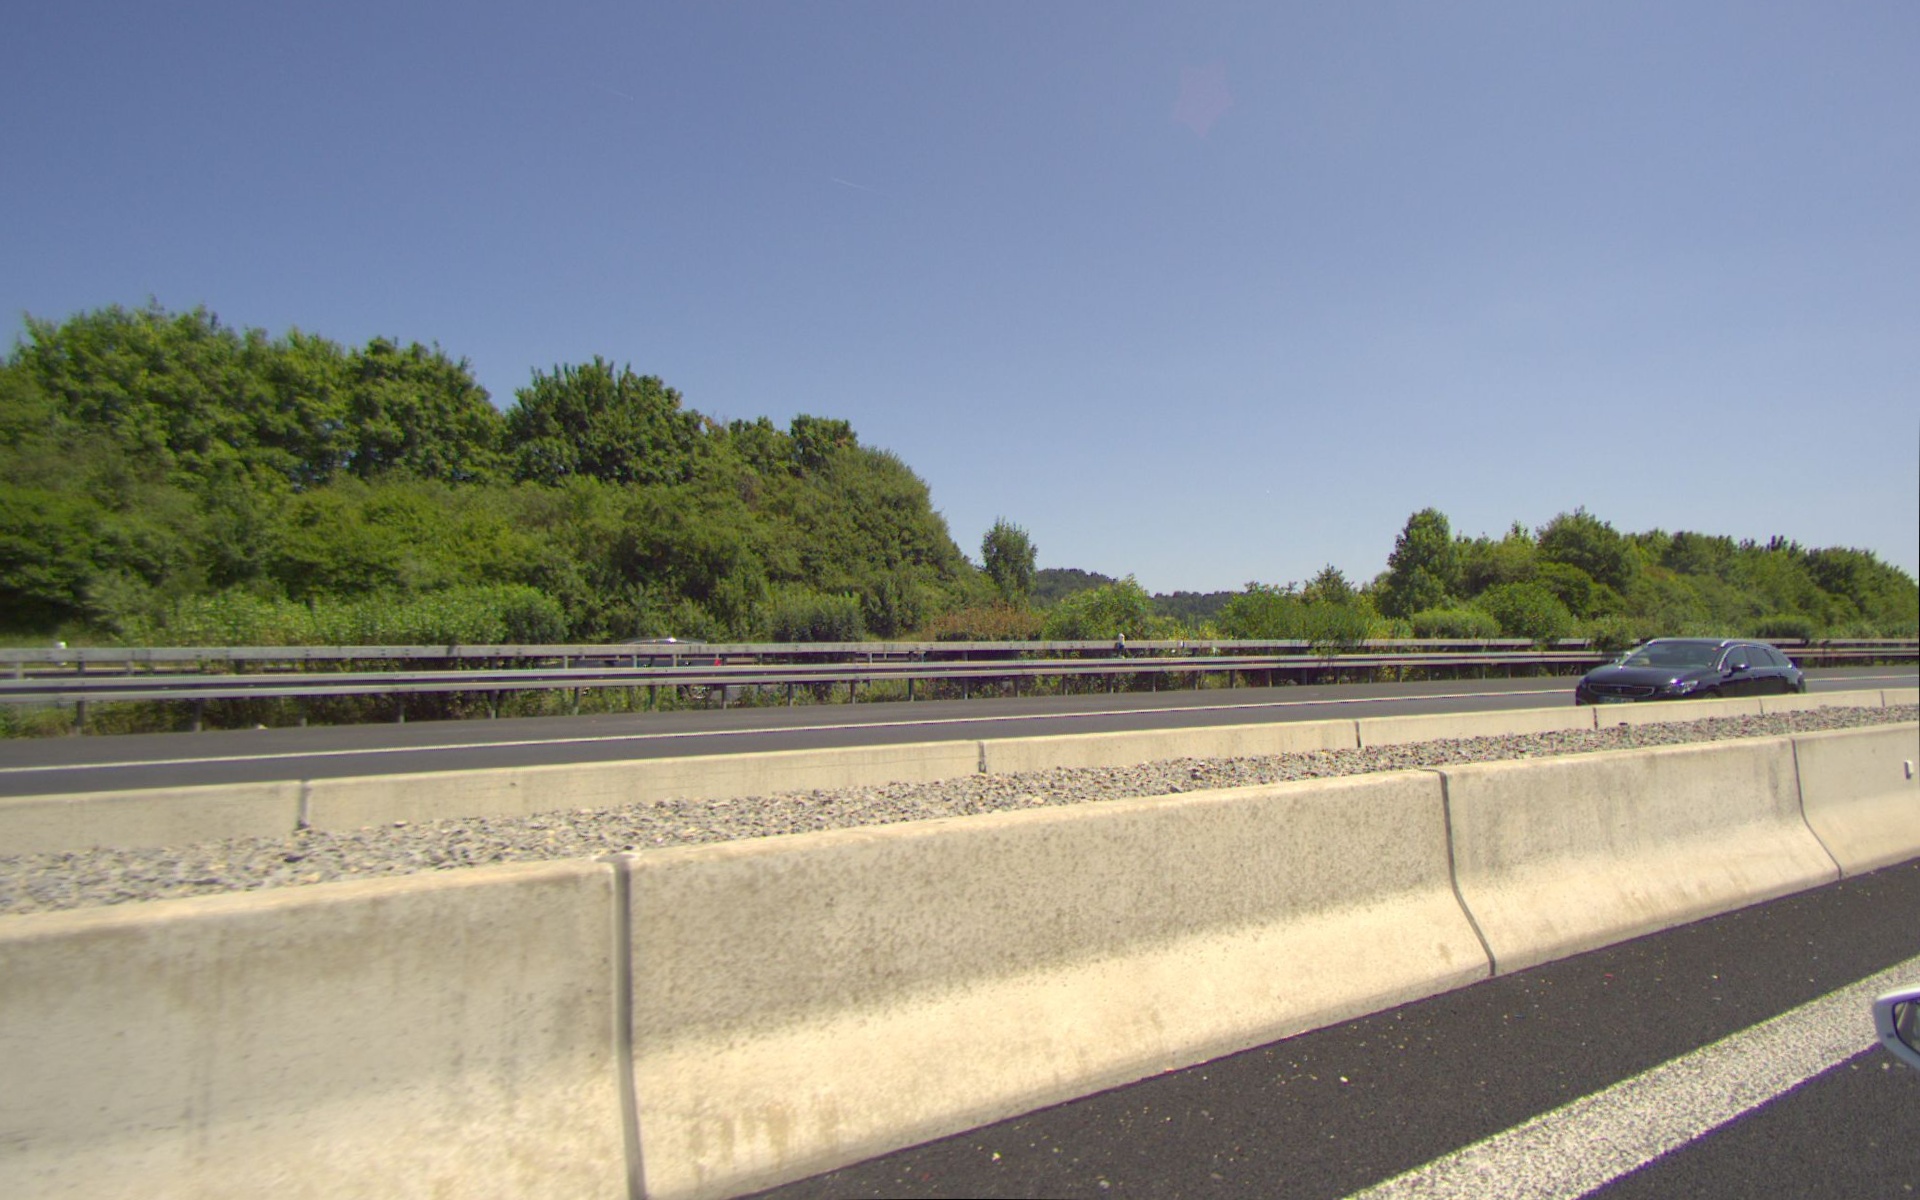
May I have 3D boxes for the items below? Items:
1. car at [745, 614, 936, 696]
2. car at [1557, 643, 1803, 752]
[{"bbox_3d":[-2.975,1.345,25.314,4.379,1.882,1.984,1,-2,-31],"label":"car"},{"bbox_3d":[12.136,1.542,16.858,4.561,1.556,1.720,2,-1,-31],"label":"car"}]
